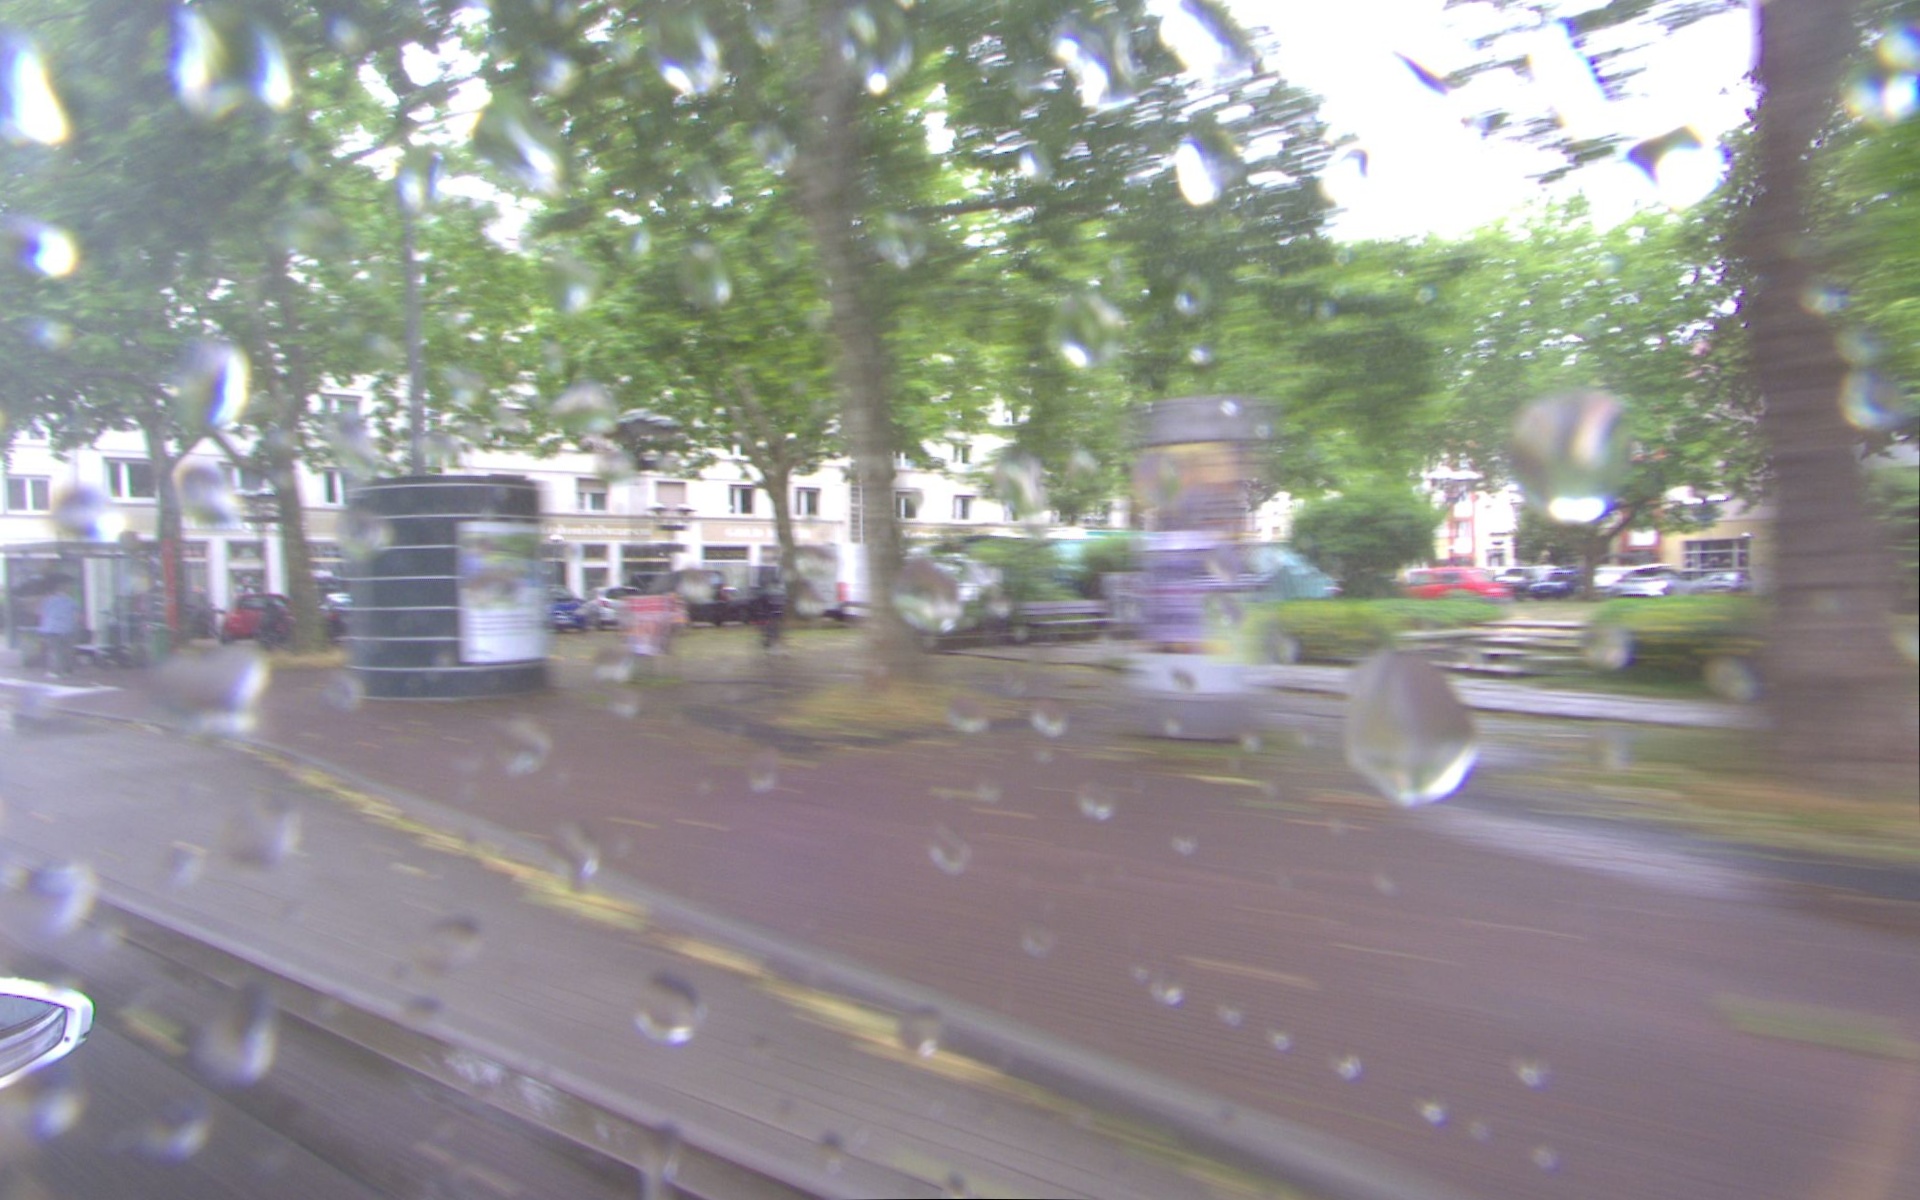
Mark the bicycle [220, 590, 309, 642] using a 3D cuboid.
[{"bbox_3d":[-17.760,0.392,25.601,1.817,1.275,0.705,-2,2,-36],"label":"bicycle"}]

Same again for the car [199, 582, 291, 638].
[{"bbox_3d":[-20.383,0.297,28.511,3.354,1.476,1.515,-2,0,44],"label":"car"}]

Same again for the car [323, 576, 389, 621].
[{"bbox_3d":[-23.836,-0.063,39.464,1.974,1.649,4.599,2,0,-34],"label":"car"}]

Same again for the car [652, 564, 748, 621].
[{"bbox_3d":[-9.139,-0.230,35.051,2.132,1.862,3.977,-2,0,-32],"label":"car"}]

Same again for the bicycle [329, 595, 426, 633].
[{"bbox_3d":[-15.815,0.361,27.223,2.224,0.982,0.581,-1,2,-34],"label":"bicycle"}]

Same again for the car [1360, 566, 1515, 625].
[{"bbox_3d":[13.474,-0.147,28.383,1.650,1.542,3.645,-2,2,-42],"label":"car"}]

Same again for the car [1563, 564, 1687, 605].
[{"bbox_3d":[28.106,-0.646,42.419,1.976,1.640,3.968,-2,2,-38],"label":"car"}]

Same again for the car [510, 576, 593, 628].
[{"bbox_3d":[-13.455,0.067,32.859,1.664,1.596,3.708,-1,1,-36],"label":"car"}]

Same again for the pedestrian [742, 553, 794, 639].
[{"bbox_3d":[-3.281,-0.081,17.050,0.733,1.417,1.044,-2,3,-17],"label":"pedestrian"}]

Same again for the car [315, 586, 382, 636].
[{"bbox_3d":[-18.201,0.344,29.777,1.566,1.354,3.243,-2,0,-33],"label":"car"}]

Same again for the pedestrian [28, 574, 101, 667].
[{"bbox_3d":[-16.732,0.369,18.726,0.705,1.692,0.664,-1,2,-7],"label":"pedestrian"}]

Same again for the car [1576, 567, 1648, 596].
[{"bbox_3d":[34.386,-0.989,52.794,3.944,1.472,1.667,-1,2,-32],"label":"car"}]

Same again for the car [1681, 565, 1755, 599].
[{"bbox_3d":[36.944,-0.890,48.774,3.845,1.573,1.815,-2,2,-36],"label":"car"}]

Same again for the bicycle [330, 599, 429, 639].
[{"bbox_3d":[-15.454,0.495,26.679,2.229,0.982,0.531,-1,2,-34],"label":"bicycle"}]

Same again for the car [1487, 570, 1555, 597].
[{"bbox_3d":[31.988,-0.960,57.089,3.944,1.472,1.667,-1,2,-32],"label":"car"}]

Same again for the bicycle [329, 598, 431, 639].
[{"bbox_3d":[-15.127,0.466,26.174,2.258,0.996,0.542,-1,2,-34],"label":"bicycle"}]

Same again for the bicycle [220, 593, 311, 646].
[{"bbox_3d":[-17.344,0.469,25.031,1.817,1.275,0.521,-2,2,-36],"label":"bicycle"}]

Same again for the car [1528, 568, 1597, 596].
[{"bbox_3d":[33.012,-0.983,54.852,3.944,1.472,1.667,-1,2,-32],"label":"car"}]

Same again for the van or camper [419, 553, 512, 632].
[{"bbox_3d":[-15.762,-0.260,31.755,2.369,2.261,5.401,-1,1,-29],"label":"van or camper"}]

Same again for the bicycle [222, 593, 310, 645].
[{"bbox_3d":[-17.015,0.459,24.579,1.744,1.211,0.495,-2,2,-36],"label":"bicycle"}]

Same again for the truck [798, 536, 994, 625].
[{"bbox_3d":[-2.045,-0.654,33.538,6.319,2.736,2.251,-1,1,-36],"label":"truck"}]

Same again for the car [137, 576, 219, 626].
[{"bbox_3d":[-28.038,0.018,36.041,1.974,1.649,4.599,2,0,-34],"label":"car"}]

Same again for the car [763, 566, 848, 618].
[{"bbox_3d":[-6.106,-0.283,39.247,1.814,1.862,3.977,-2,0,-32],"label":"car"}]

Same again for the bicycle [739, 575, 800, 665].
[{"bbox_3d":[-3.285,0.274,17.099,0.738,1.396,2.701,-1,2,-16],"label":"bicycle"}]

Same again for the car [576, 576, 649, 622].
[{"bbox_3d":[-12.098,-0.005,34.734,1.661,1.450,3.717,-1,-1,-31],"label":"car"}]

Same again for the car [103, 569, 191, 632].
[{"bbox_3d":[-22.087,0.047,27.163,1.675,1.571,3.492,-2,0,-41],"label":"car"}]
